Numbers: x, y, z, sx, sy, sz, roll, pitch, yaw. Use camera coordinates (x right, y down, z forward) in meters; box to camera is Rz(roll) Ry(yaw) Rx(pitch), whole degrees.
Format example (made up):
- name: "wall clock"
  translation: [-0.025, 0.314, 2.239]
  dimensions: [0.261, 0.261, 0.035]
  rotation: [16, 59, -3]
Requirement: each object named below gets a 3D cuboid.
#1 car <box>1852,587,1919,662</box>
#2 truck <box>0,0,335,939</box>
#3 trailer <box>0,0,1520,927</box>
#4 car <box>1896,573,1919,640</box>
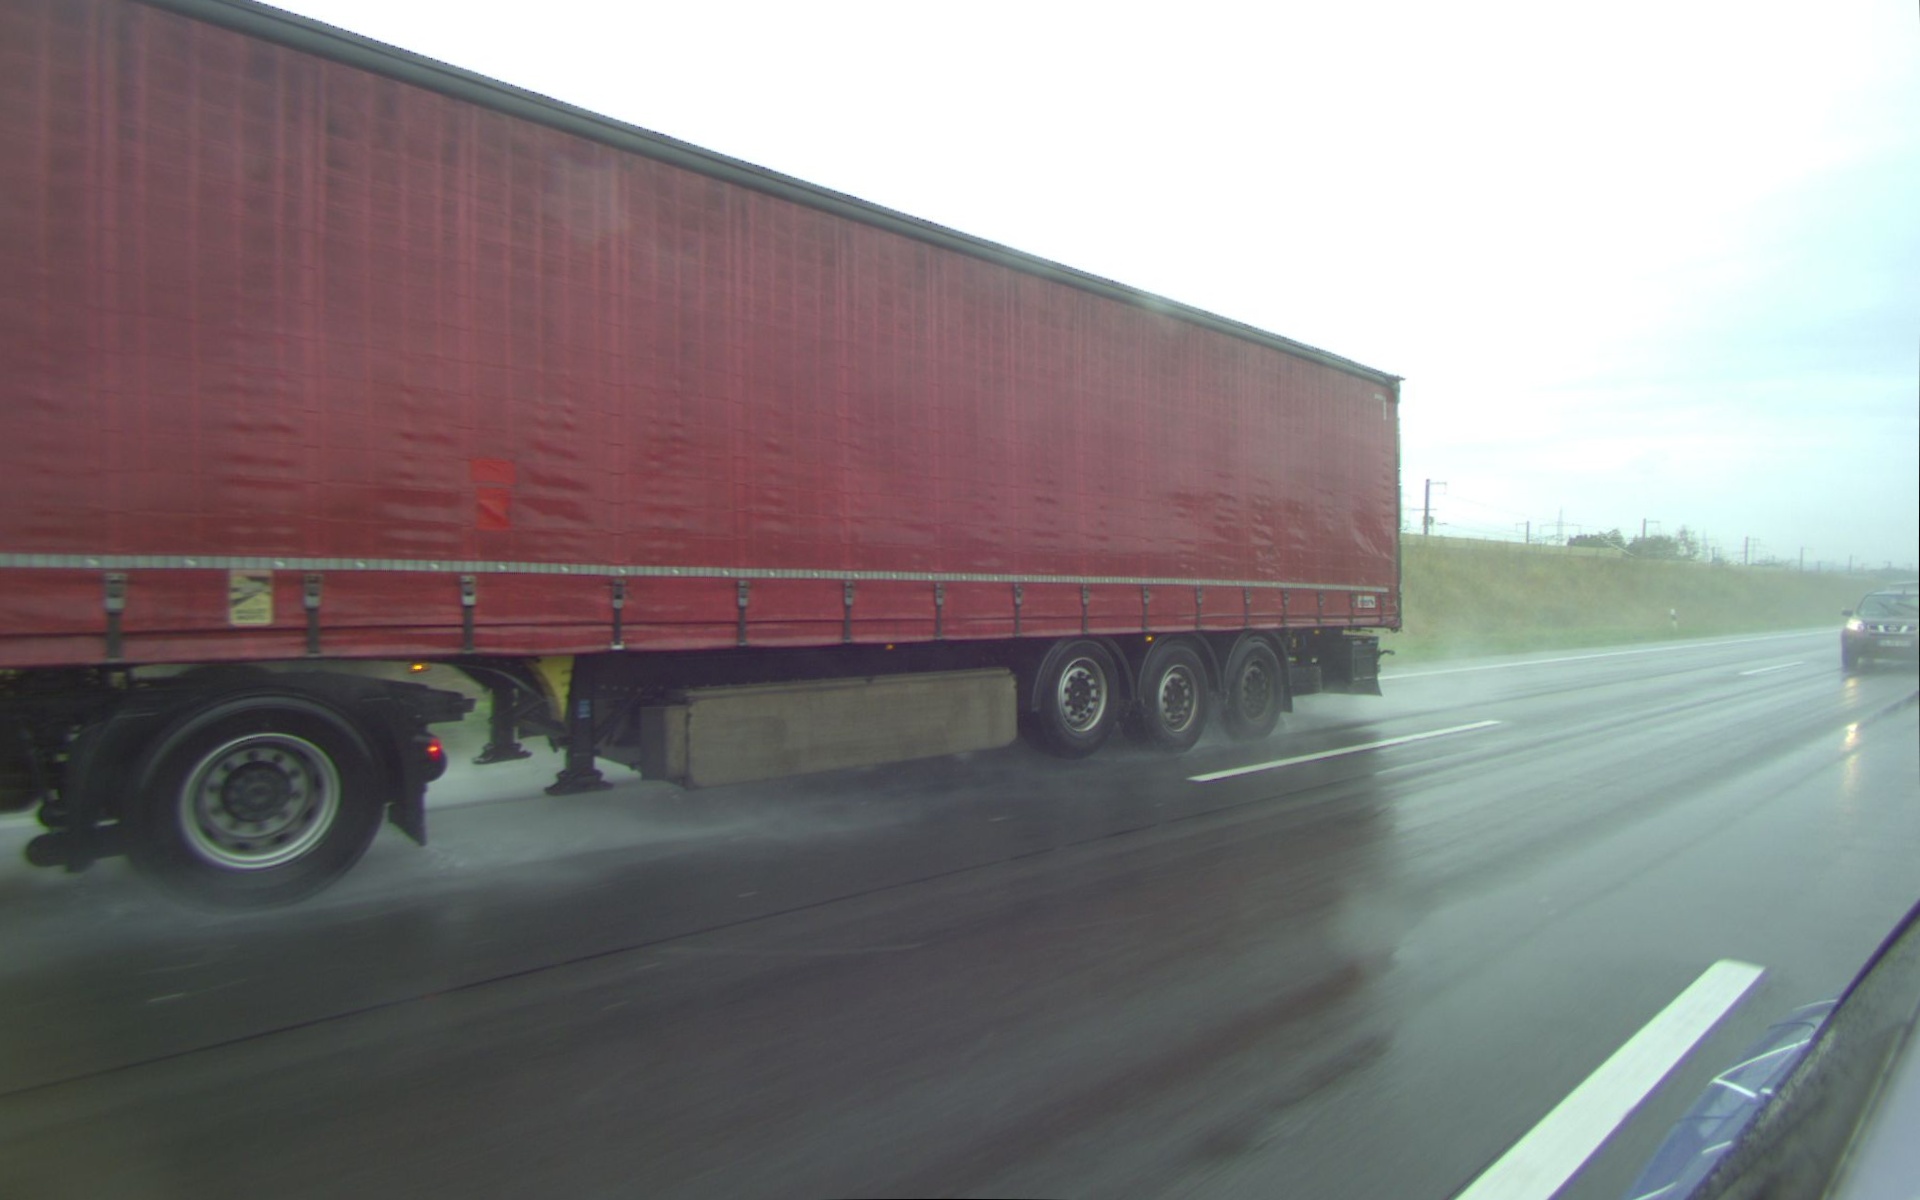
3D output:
- name: "car"
  translation: [20.724, 0.478, 21.877]
  dimensions: [3.769, 1.519, 1.662]
  rotation: [-1, 0, -41]
- name: "truck"
  translation: [-5.911, -0.667, 3.503]
  dimensions: [6.091, 3.938, 2.456]
  rotation: [-1, 0, -41]
- name: "trailer"
  translation: [0.868, -0.745, 9.537]
  dimensions: [16.259, 3.813, 2.483]
  rotation: [-1, 0, -42]
- name: "car"
  translation: [24.917, 0.136, 25.606]
  dimensions: [3.132, 1.636, 1.516]
  rotation: [-1, 0, -42]
